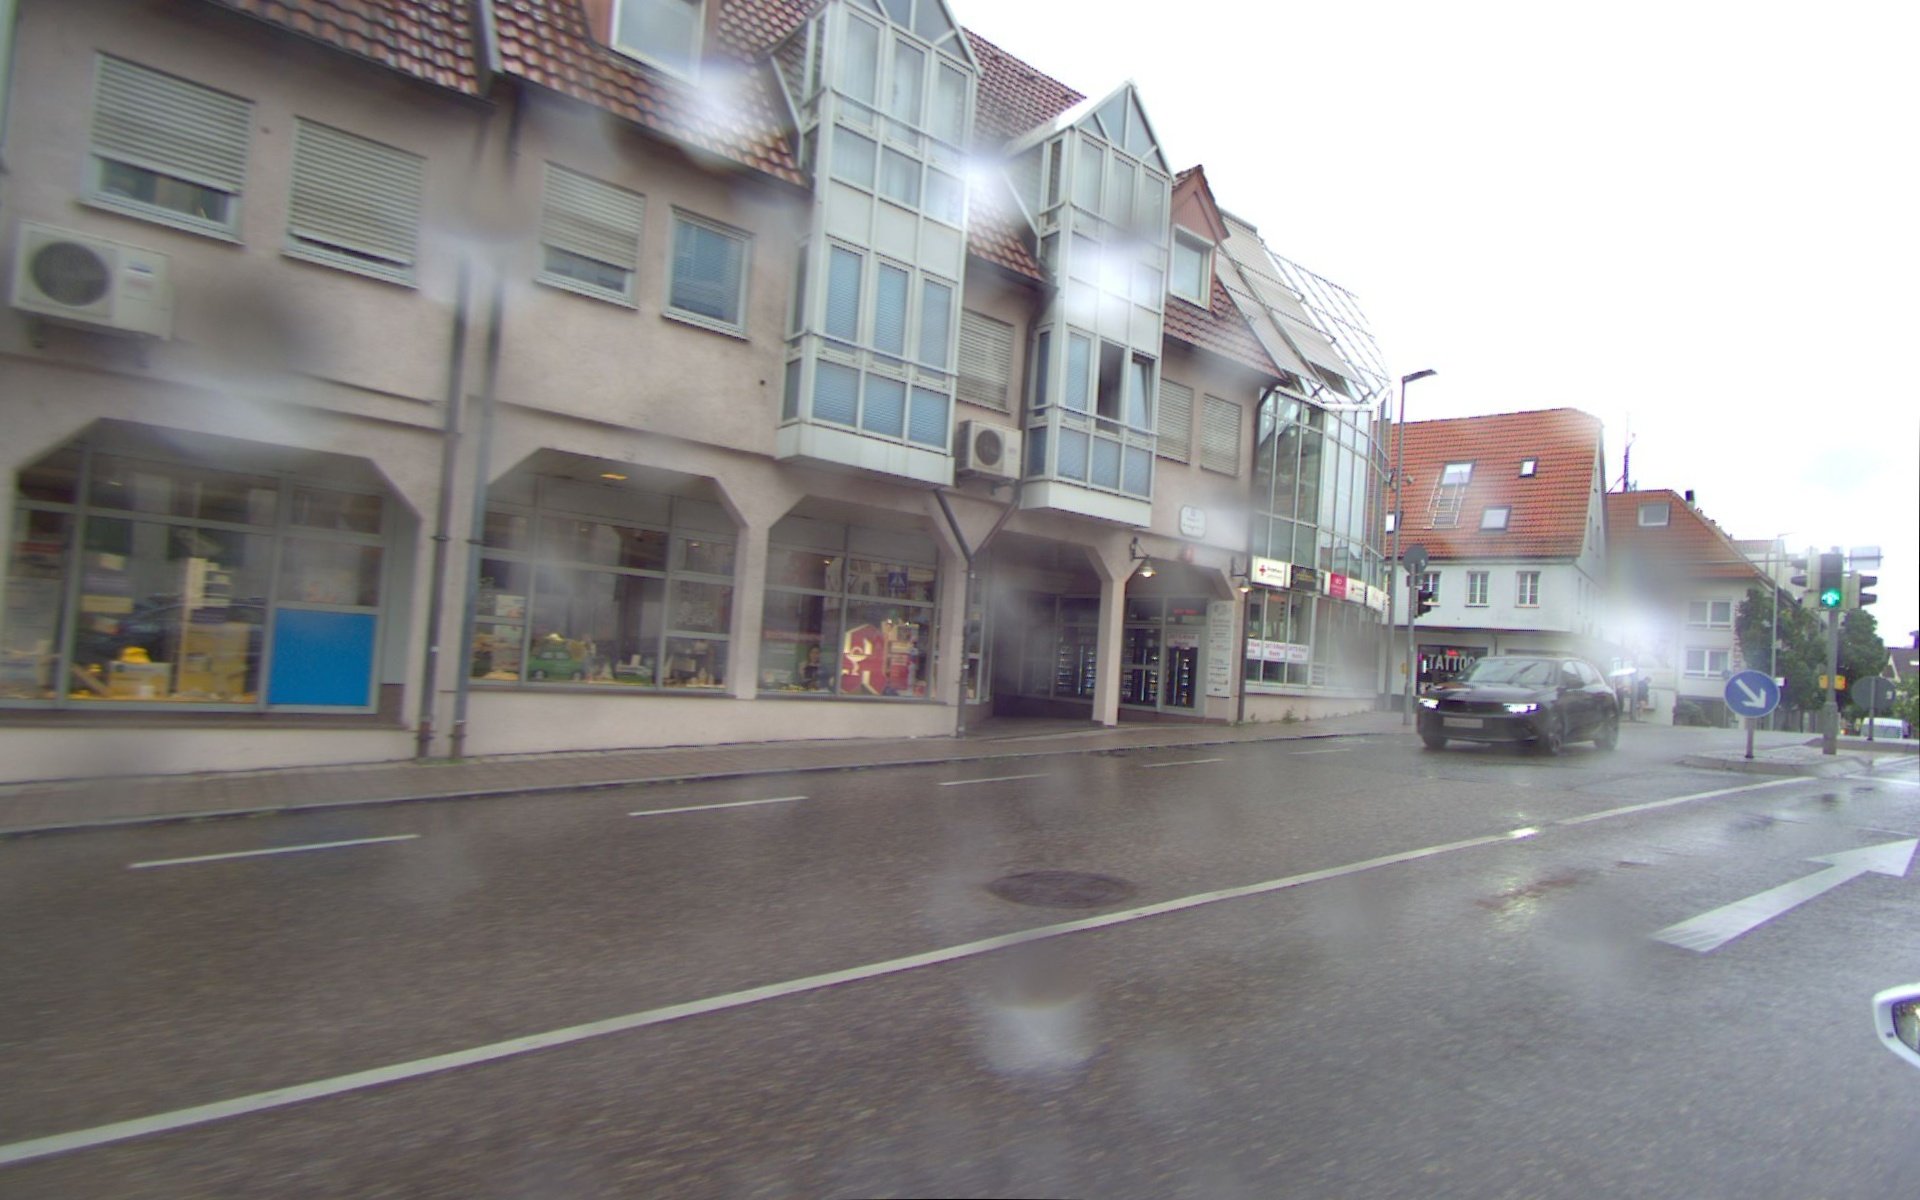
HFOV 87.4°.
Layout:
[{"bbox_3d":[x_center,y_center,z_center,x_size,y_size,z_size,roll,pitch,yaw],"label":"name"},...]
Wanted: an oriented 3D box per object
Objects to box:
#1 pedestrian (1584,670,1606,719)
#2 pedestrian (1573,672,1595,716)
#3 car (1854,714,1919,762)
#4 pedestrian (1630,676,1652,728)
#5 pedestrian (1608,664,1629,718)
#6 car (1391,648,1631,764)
[{"bbox_3d":[24.085,3.581,38.092,0.585,1.797,0.631,-2,-4,40],"label":"pedestrian"},{"bbox_3d":[23.139,3.478,37.229,0.585,1.579,0.631,-2,-4,40],"label":"pedestrian"},{"bbox_3d":[57.615,8.483,62.266,6.510,2.660,2.564,5,-6,-42],"label":"car"},{"bbox_3d":[25.533,3.808,37.652,0.596,1.891,0.745,-2,-4,40],"label":"pedestrian"},{"bbox_3d":[23.591,3.261,35.978,0.528,1.895,0.631,-2,-4,40],"label":"pedestrian"},{"bbox_3d":[8.332,1.471,15.064,3.968,1.486,1.871,2,-3,-41],"label":"car"}]
